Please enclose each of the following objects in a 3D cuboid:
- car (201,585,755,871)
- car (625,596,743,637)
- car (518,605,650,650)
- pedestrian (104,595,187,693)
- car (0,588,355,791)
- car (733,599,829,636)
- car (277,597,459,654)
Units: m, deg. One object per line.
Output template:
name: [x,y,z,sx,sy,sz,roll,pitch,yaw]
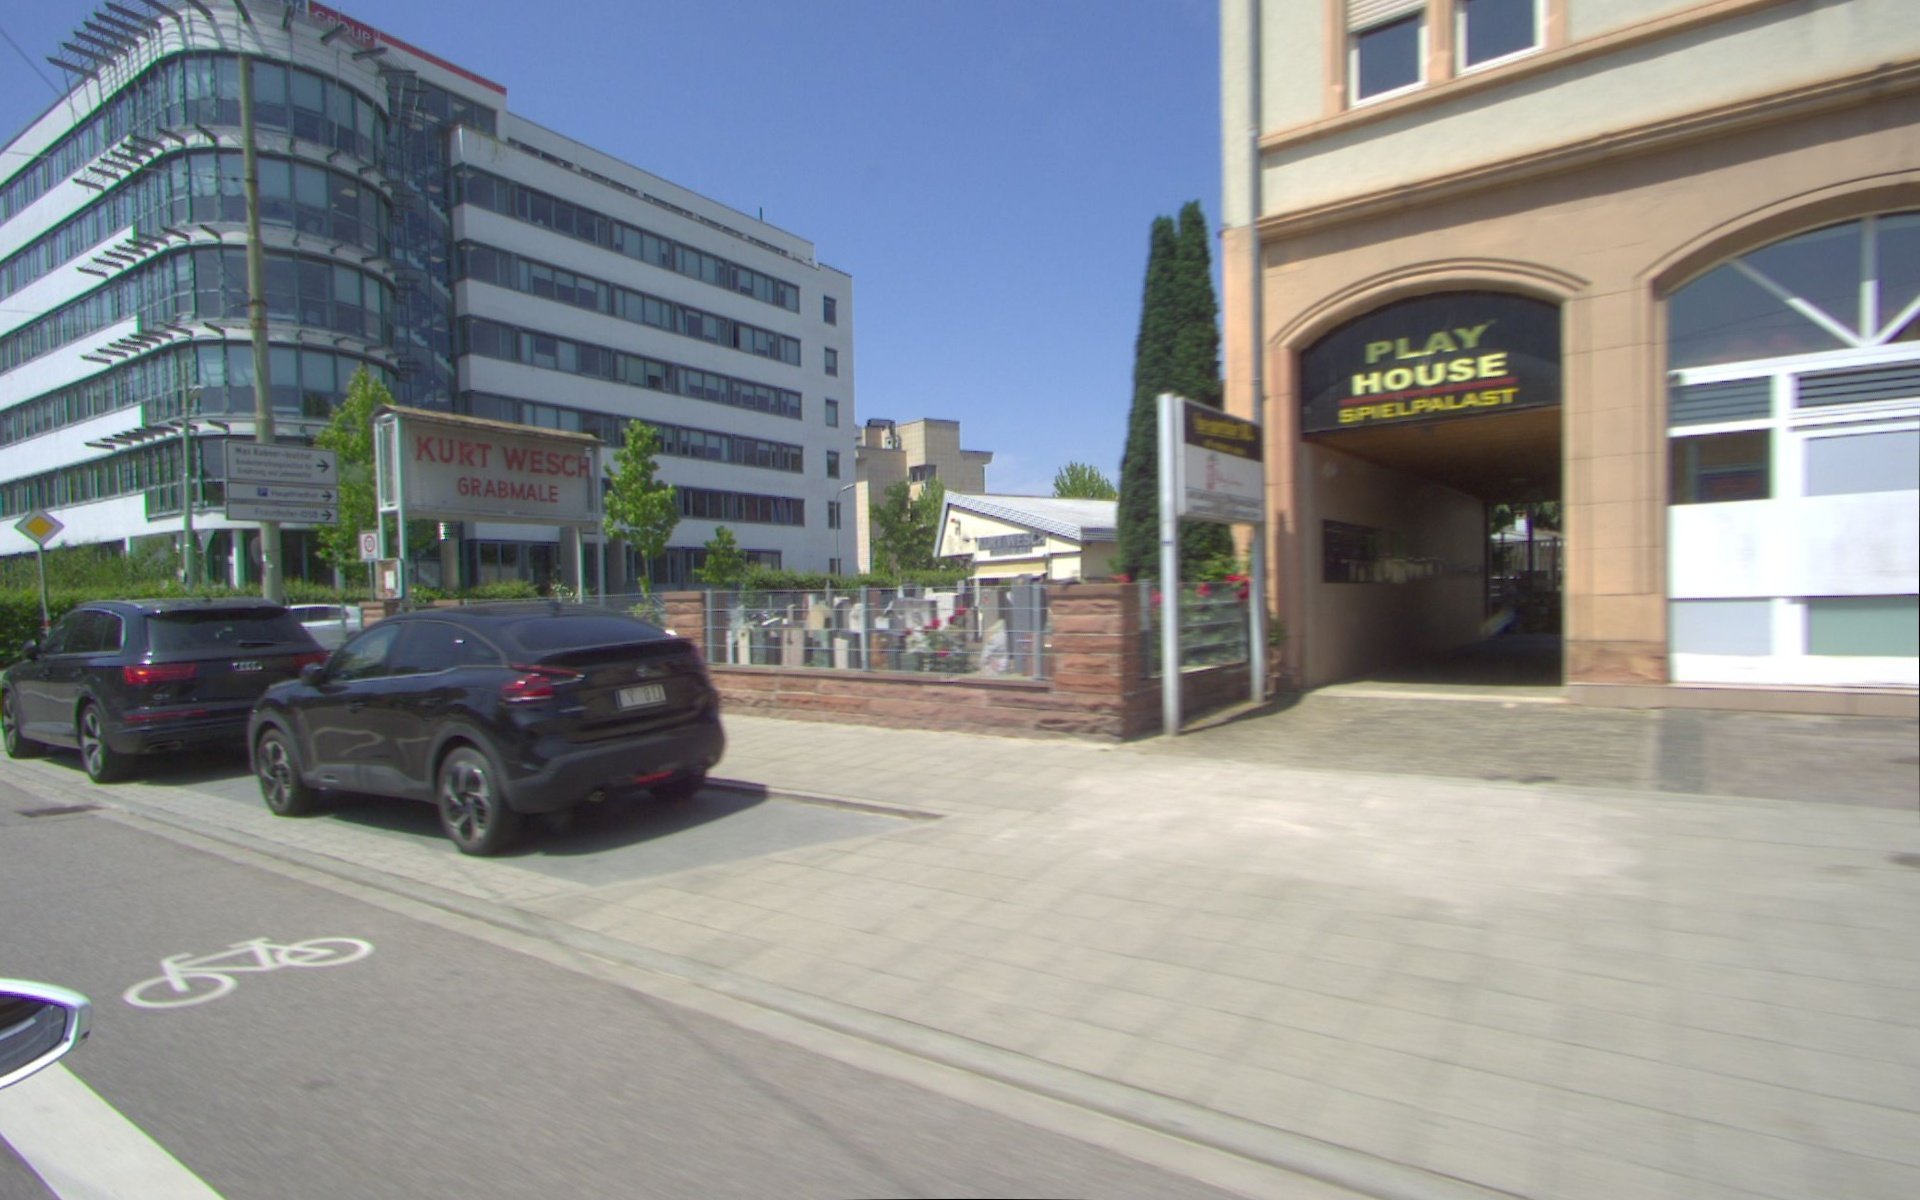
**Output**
car: [-3.798,0.764,7.624,4.406,1.569,1.767,-1,2,34]
car: [-10.794,0.615,39.413,1.743,1.428,4.439,-1,1,33]
car: [-13.188,0.933,35.344,1.742,1.428,4.139,-1,1,32]
pedestrian: [-14.406,0.762,17.727,0.721,1.689,0.839,0,1,13]
car: [-8.897,0.811,10.993,5.013,1.716,1.918,-1,2,35]
car: [-7.683,0.732,43.307,1.743,1.428,4.138,-1,1,33]
car: [-16.957,0.681,28.844,1.794,1.479,4.133,-1,1,37]
